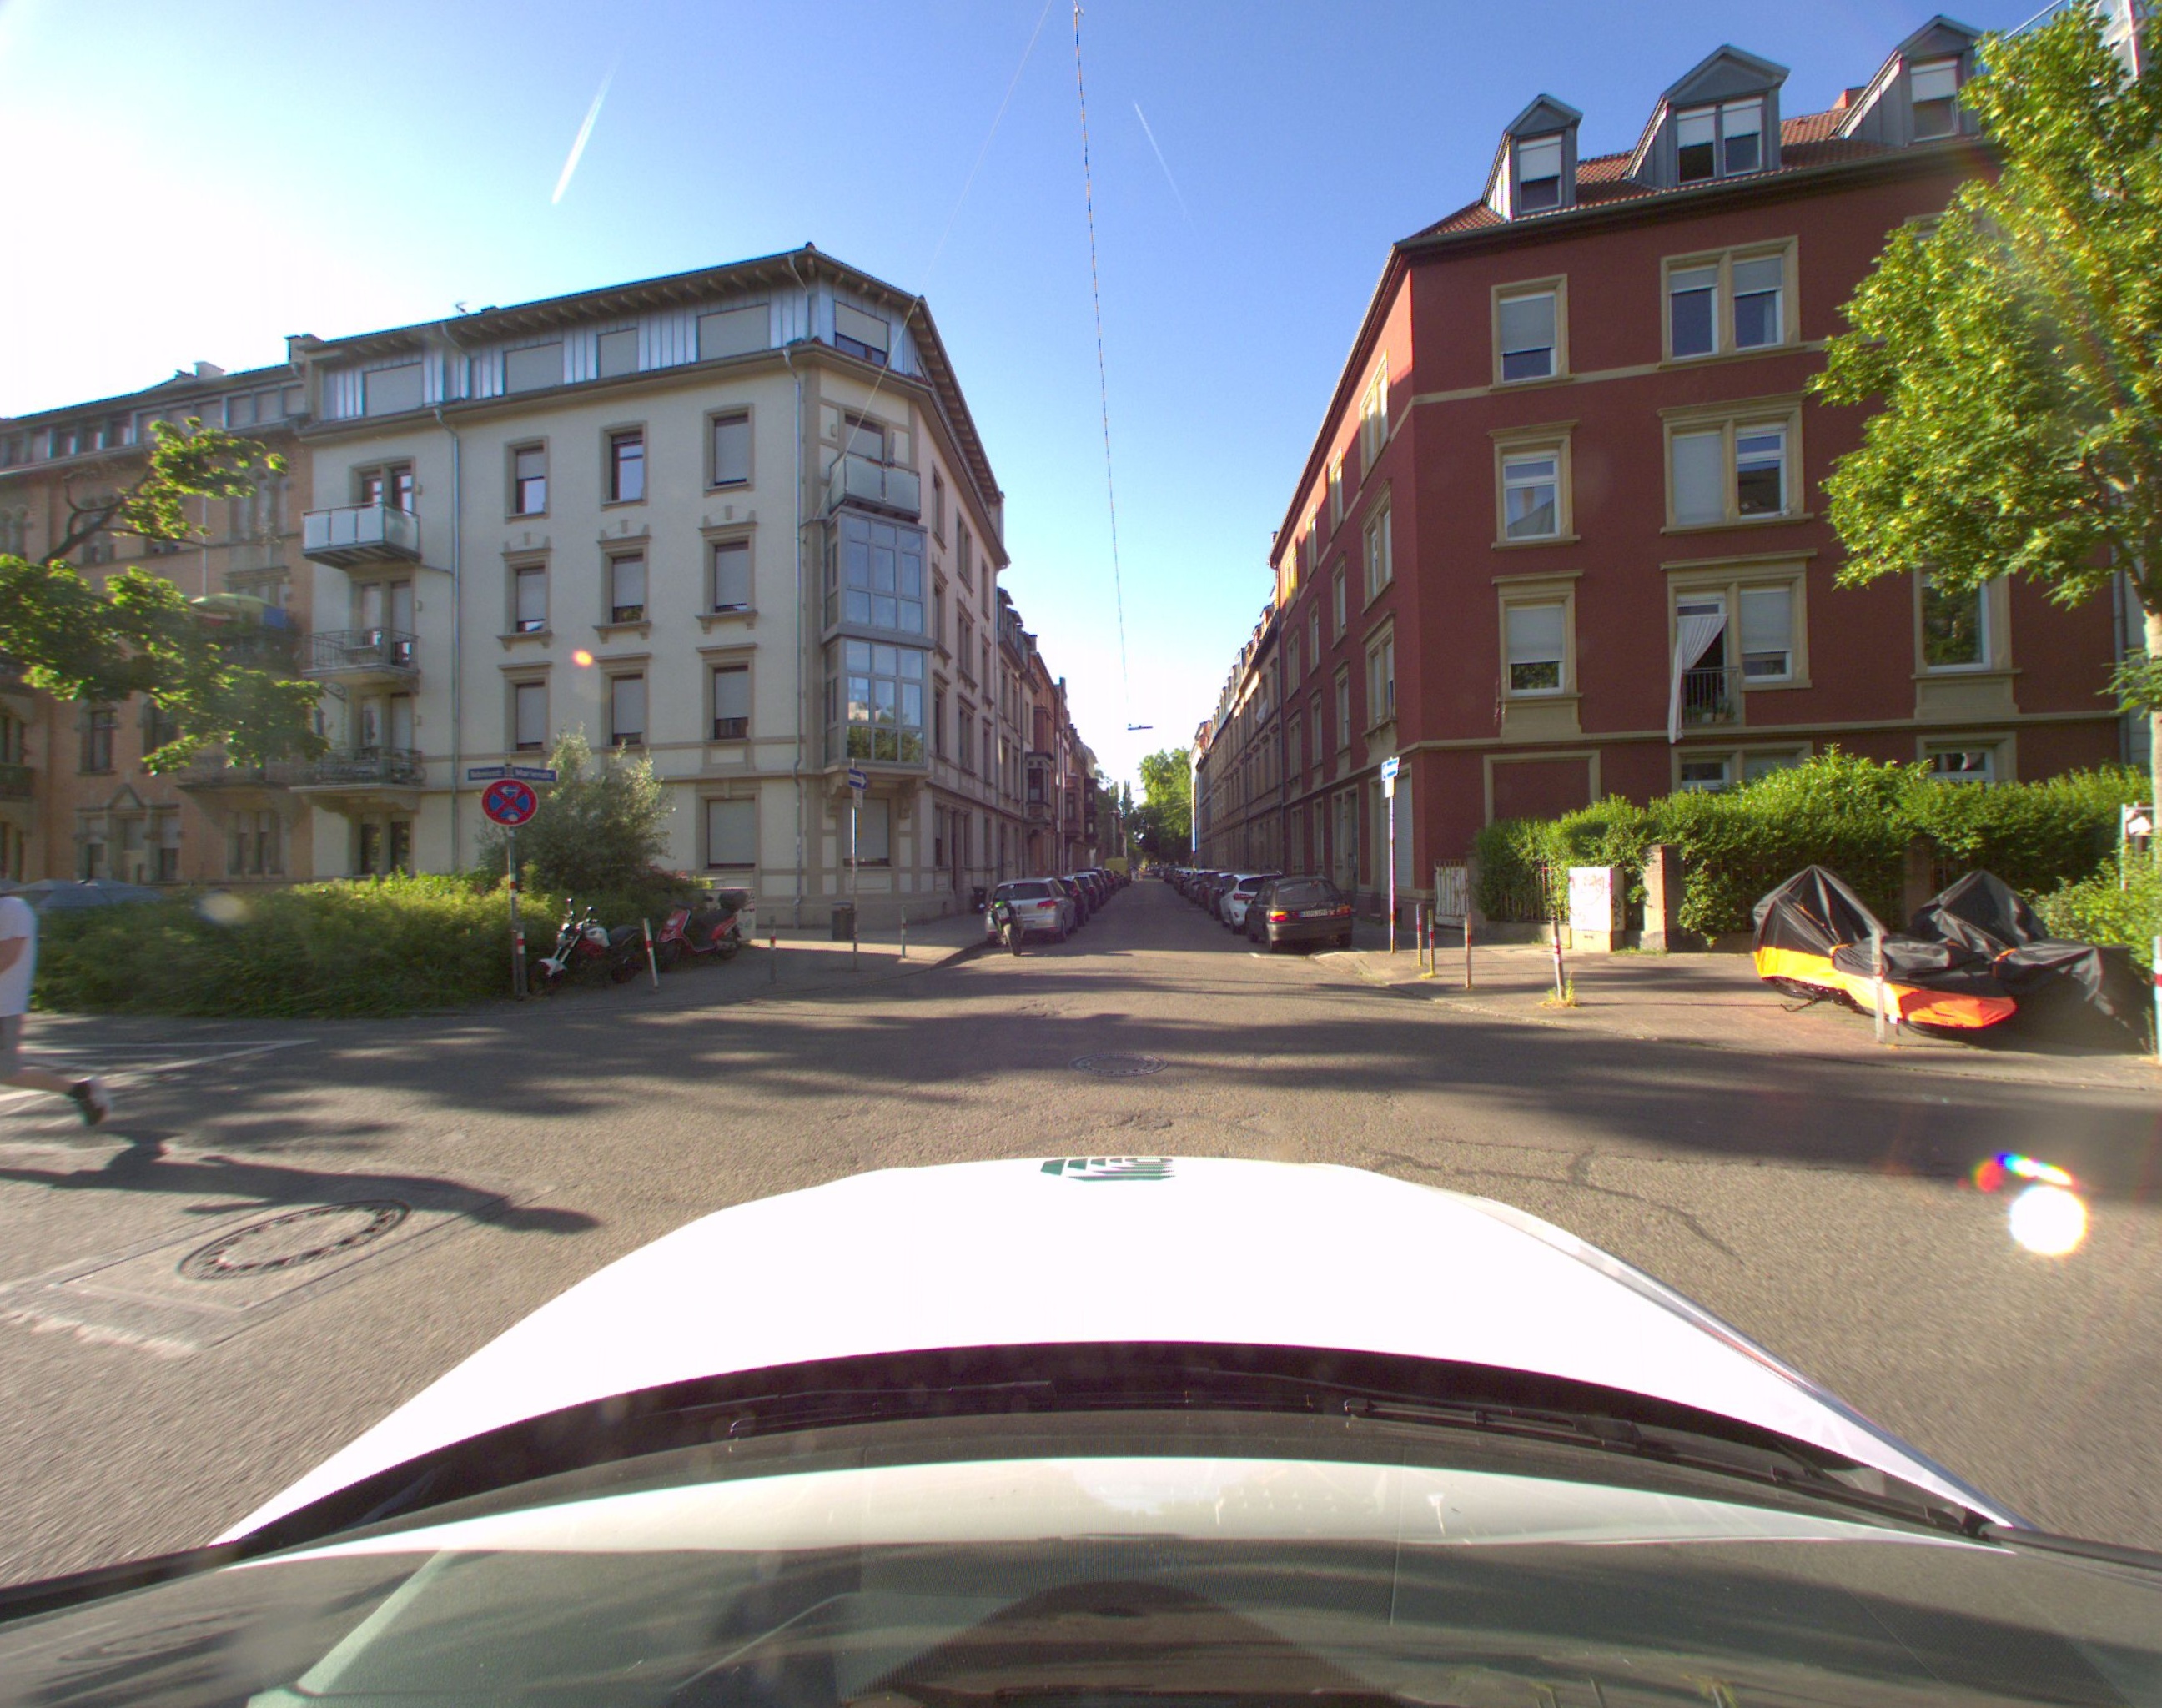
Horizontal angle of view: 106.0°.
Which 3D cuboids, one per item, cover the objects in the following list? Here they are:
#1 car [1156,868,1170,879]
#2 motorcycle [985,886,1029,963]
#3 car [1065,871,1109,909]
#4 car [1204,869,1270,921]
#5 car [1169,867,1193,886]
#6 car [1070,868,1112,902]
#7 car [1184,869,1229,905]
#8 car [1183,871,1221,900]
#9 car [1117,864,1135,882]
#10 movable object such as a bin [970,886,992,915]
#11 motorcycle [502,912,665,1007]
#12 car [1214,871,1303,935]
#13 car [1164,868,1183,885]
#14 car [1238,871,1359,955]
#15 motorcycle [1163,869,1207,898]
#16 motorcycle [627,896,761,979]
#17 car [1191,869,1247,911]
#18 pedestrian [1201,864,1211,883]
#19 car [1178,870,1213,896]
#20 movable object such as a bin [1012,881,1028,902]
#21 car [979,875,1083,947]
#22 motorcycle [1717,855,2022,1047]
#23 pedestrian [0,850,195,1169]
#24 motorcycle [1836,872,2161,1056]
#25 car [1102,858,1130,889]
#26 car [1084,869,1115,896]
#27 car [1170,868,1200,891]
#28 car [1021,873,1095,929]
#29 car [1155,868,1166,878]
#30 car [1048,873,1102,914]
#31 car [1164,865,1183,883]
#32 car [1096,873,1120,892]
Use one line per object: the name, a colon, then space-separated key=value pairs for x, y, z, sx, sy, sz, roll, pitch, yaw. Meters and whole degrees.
car: x=12.065 y=2.849 z=119.473 sx=1.717 sy=1.523 sz=4.001 roll=-1 pitch=-1 yaw=2
motorcycle: x=-1.429 y=1.340 z=16.060 sx=0.675 sy=1.334 sz=1.998 roll=-3 pitch=-1 yaw=-2
car: x=0.296 y=1.506 z=35.440 sx=1.636 sy=1.456 sz=3.842 roll=-3 pitch=-1 yaw=3
car: x=4.990 y=1.262 z=26.435 sx=1.669 sy=1.503 sz=4.074 roll=-1 pitch=-1 yaw=5
car: x=9.071 y=2.050 z=74.102 sx=1.746 sy=1.518 sz=4.447 roll=-5 pitch=-1 yaw=3
car: x=0.567 y=1.497 z=40.623 sx=1.753 sy=1.617 sz=4.194 roll=-1 pitch=-1 yaw=5
car: x=5.640 y=1.471 z=36.983 sx=1.754 sy=1.484 sz=4.407 roll=-1 pitch=-1 yaw=5
car: x=6.198 y=1.593 z=42.026 sx=1.684 sy=1.406 sz=3.997 roll=-1 pitch=-1 yaw=5
car: x=4.792 y=2.017 z=86.957 sx=1.812 sy=1.766 sz=4.336 roll=-1 pitch=-1 yaw=2
movable object such as a bin: x=-3.360 y=1.565 z=27.362 sx=0.618 sy=0.956 sz=0.511 roll=1 pitch=-1 yaw=4
motorcycle: x=-6.659 y=1.375 z=11.035 sx=0.634 sy=1.090 sz=1.879 roll=-1 pitch=-2 yaw=20
car: x=4.499 y=1.191 z=21.123 sx=1.697 sy=1.462 sz=3.974 roll=-1 pitch=-1 yaw=4
car: x=9.064 y=2.192 z=80.009 sx=1.745 sy=1.453 sz=4.294 roll=-5 pitch=-1 yaw=6
car: x=4.292 y=1.101 z=16.603 sx=1.661 sy=1.483 sz=3.709 roll=-1 pitch=-1 yaw=3
motorcycle: x=5.702 y=1.620 z=44.527 sx=2.227 sy=1.537 sz=0.884 roll=2 pitch=-1 yaw=-22
motorcycle: x=-6.238 y=1.304 z=13.269 sx=0.606 sy=1.197 sz=2.055 roll=-1 pitch=-2 yaw=24
car: x=5.371 y=1.364 z=32.040 sx=1.652 sy=1.480 sz=4.026 roll=-1 pitch=-1 yaw=2
pedestrian: x=10.702 y=1.671 z=69.607 sx=0.651 sy=1.630 sz=0.880 roll=-2 pitch=-2 yaw=0
car: x=6.623 y=1.652 z=47.576 sx=1.769 sy=1.397 sz=4.323 roll=-1 pitch=-1 yaw=5
movable object such as a bin: x=-2.773 y=1.677 z=36.916 sx=0.610 sy=0.920 sz=0.734 roll=-1 pitch=-1 yaw=4
car: x=-1.071 y=1.266 z=19.355 sx=1.772 sy=1.483 sz=3.939 roll=-1 pitch=-1 yaw=7
motorcycle: x=7.410 y=0.792 z=7.924 sx=0.866 sy=1.525 sz=2.632 roll=-1 pitch=0 yaw=13
pedestrian: x=-6.247 y=0.863 z=4.859 sx=0.797 sy=1.746 sz=1.009 roll=-1 pitch=-1 yaw=11
motorcycle: x=8.460 y=0.887 z=7.604 sx=0.863 sy=1.404 sz=2.551 roll=-1 pitch=-1 yaw=13
car: x=3.157 y=1.694 z=72.387 sx=2.165 sy=2.508 sz=5.884 roll=-3 pitch=-1 yaw=4
car: x=1.206 y=1.733 z=50.335 sx=1.774 sy=1.606 sz=4.072 roll=-1 pitch=-1 yaw=3
car: x=7.439 y=1.823 z=58.548 sx=1.747 sy=1.446 sz=4.071 roll=-4 pitch=-1 yaw=3
car: x=-0.604 y=1.327 z=24.224 sx=1.772 sy=1.483 sz=3.747 roll=-1 pitch=-1 yaw=5
car: x=13.718 y=3.288 z=140.712 sx=1.886 sy=1.625 sz=4.003 roll=-1 pitch=-2 yaw=4
car: x=-0.155 y=1.427 z=30.459 sx=1.774 sy=1.403 sz=3.745 roll=-1 pitch=-1 yaw=3
car: x=9.677 y=2.069 z=85.426 sx=1.746 sy=1.786 sz=4.728 roll=-3 pitch=-1 yaw=4
car: x=2.078 y=2.113 z=61.012 sx=1.611 sy=1.326 sz=3.615 roll=-4 pitch=-1 yaw=3
